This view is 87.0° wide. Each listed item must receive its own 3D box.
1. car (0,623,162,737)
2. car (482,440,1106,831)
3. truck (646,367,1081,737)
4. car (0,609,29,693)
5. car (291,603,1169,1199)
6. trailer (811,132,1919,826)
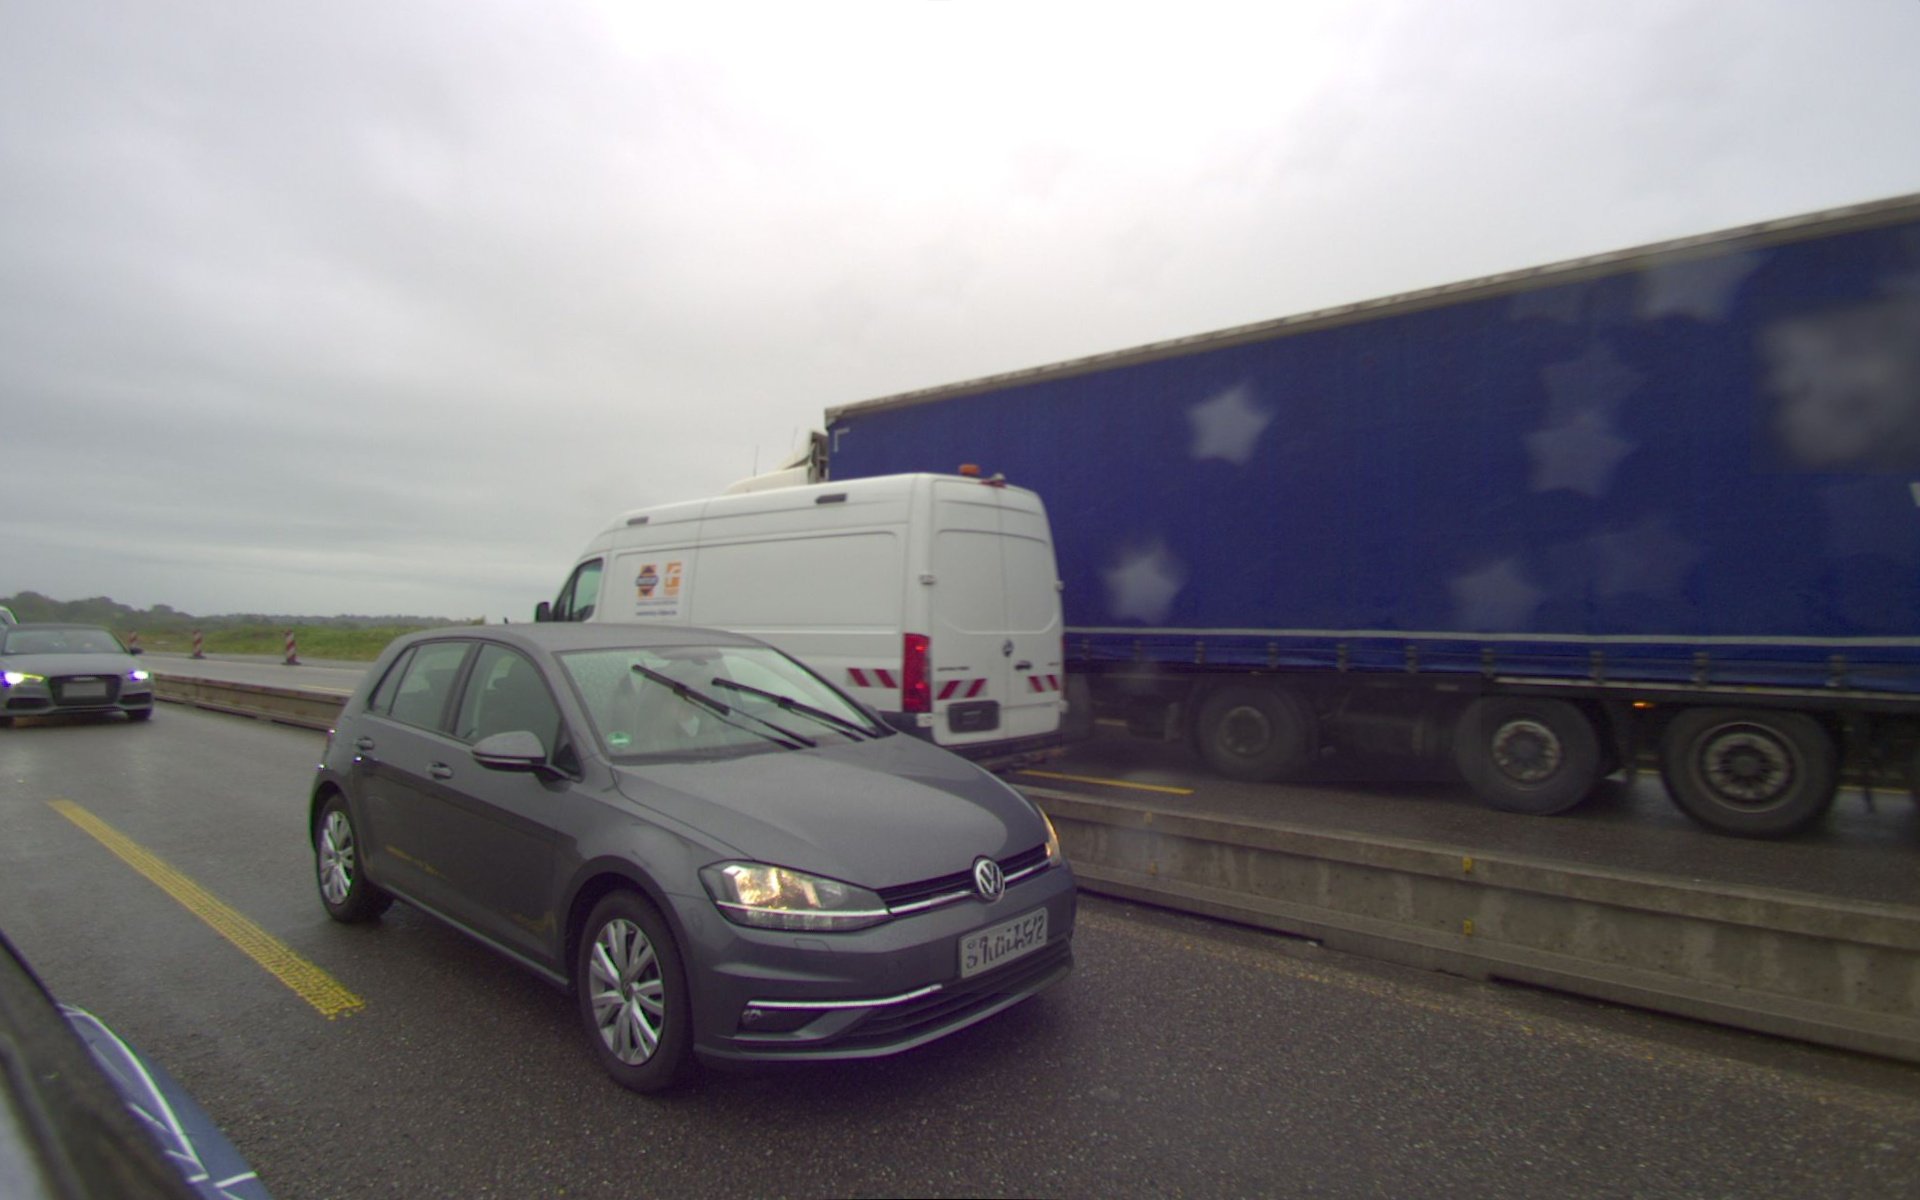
[{"bbox_3d":[-13.518,1.078,15.044,4.265,1.407,1.777,0,0,40],"label":"car"},{"bbox_3d":[-2.072,0.337,9.900,6.878,2.674,1.986,-2,-1,40],"label":"car"},{"bbox_3d":[-1.550,-0.451,14.084,5.817,4.065,2.759,-2,-2,42],"label":"truck"},{"bbox_3d":[-23.887,1.154,23.995,5.177,1.873,2.133,0,0,41],"label":"car"},{"bbox_3d":[-1.306,0.740,4.376,4.079,1.433,1.632,0,-1,41],"label":"car"},{"bbox_3d":[4.254,-0.623,8.966,13.733,4.065,2.750,-2,-1,41],"label":"trailer"}]
